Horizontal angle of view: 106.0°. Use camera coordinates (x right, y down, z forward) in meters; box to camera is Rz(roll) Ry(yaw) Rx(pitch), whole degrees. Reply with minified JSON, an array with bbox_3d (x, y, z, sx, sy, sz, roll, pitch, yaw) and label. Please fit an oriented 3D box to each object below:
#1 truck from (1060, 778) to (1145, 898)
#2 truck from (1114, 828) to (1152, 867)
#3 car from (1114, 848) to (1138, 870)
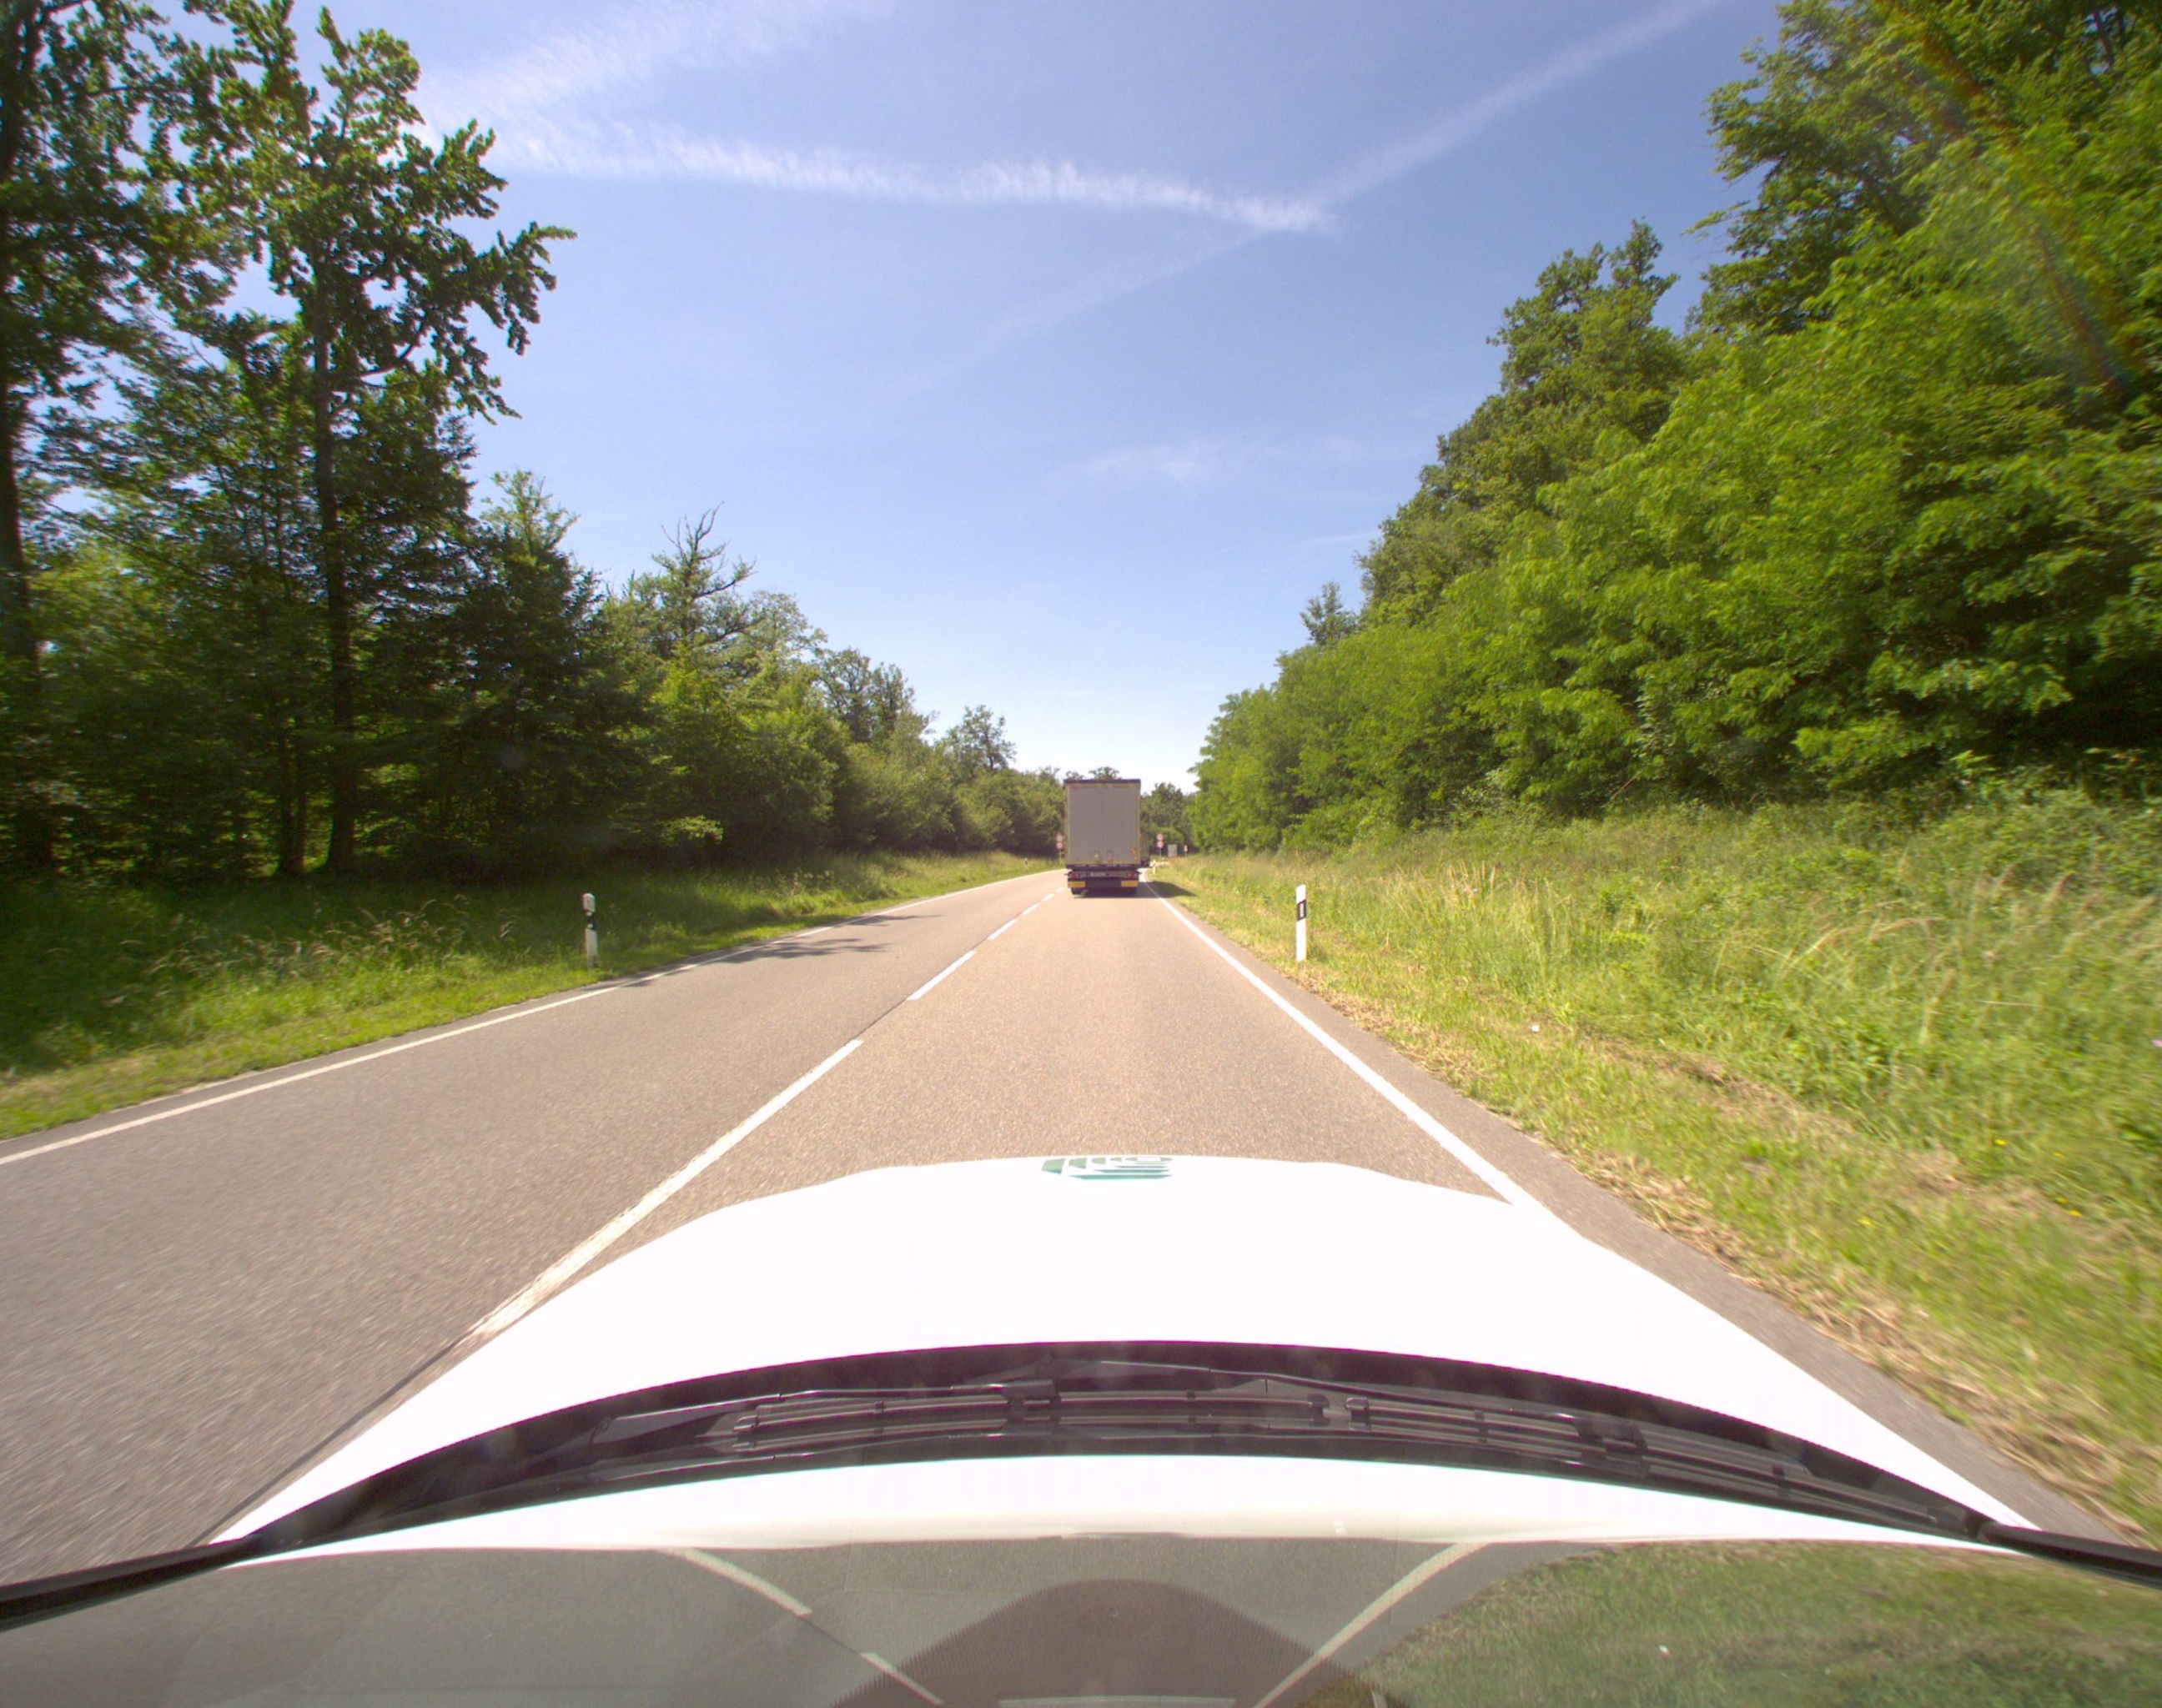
[{"bbox_3d":[0.985,-0.564,33.225,2.750,3.947,12.205,-2,0,2],"label":"truck"},{"bbox_3d":[6.447,-0.766,99.007,3.774,4.373,14.947,-1,0,6],"label":"truck"},{"bbox_3d":[3.673,0.411,66.375,1.761,1.708,4.006,-1,0,5],"label":"car"}]
